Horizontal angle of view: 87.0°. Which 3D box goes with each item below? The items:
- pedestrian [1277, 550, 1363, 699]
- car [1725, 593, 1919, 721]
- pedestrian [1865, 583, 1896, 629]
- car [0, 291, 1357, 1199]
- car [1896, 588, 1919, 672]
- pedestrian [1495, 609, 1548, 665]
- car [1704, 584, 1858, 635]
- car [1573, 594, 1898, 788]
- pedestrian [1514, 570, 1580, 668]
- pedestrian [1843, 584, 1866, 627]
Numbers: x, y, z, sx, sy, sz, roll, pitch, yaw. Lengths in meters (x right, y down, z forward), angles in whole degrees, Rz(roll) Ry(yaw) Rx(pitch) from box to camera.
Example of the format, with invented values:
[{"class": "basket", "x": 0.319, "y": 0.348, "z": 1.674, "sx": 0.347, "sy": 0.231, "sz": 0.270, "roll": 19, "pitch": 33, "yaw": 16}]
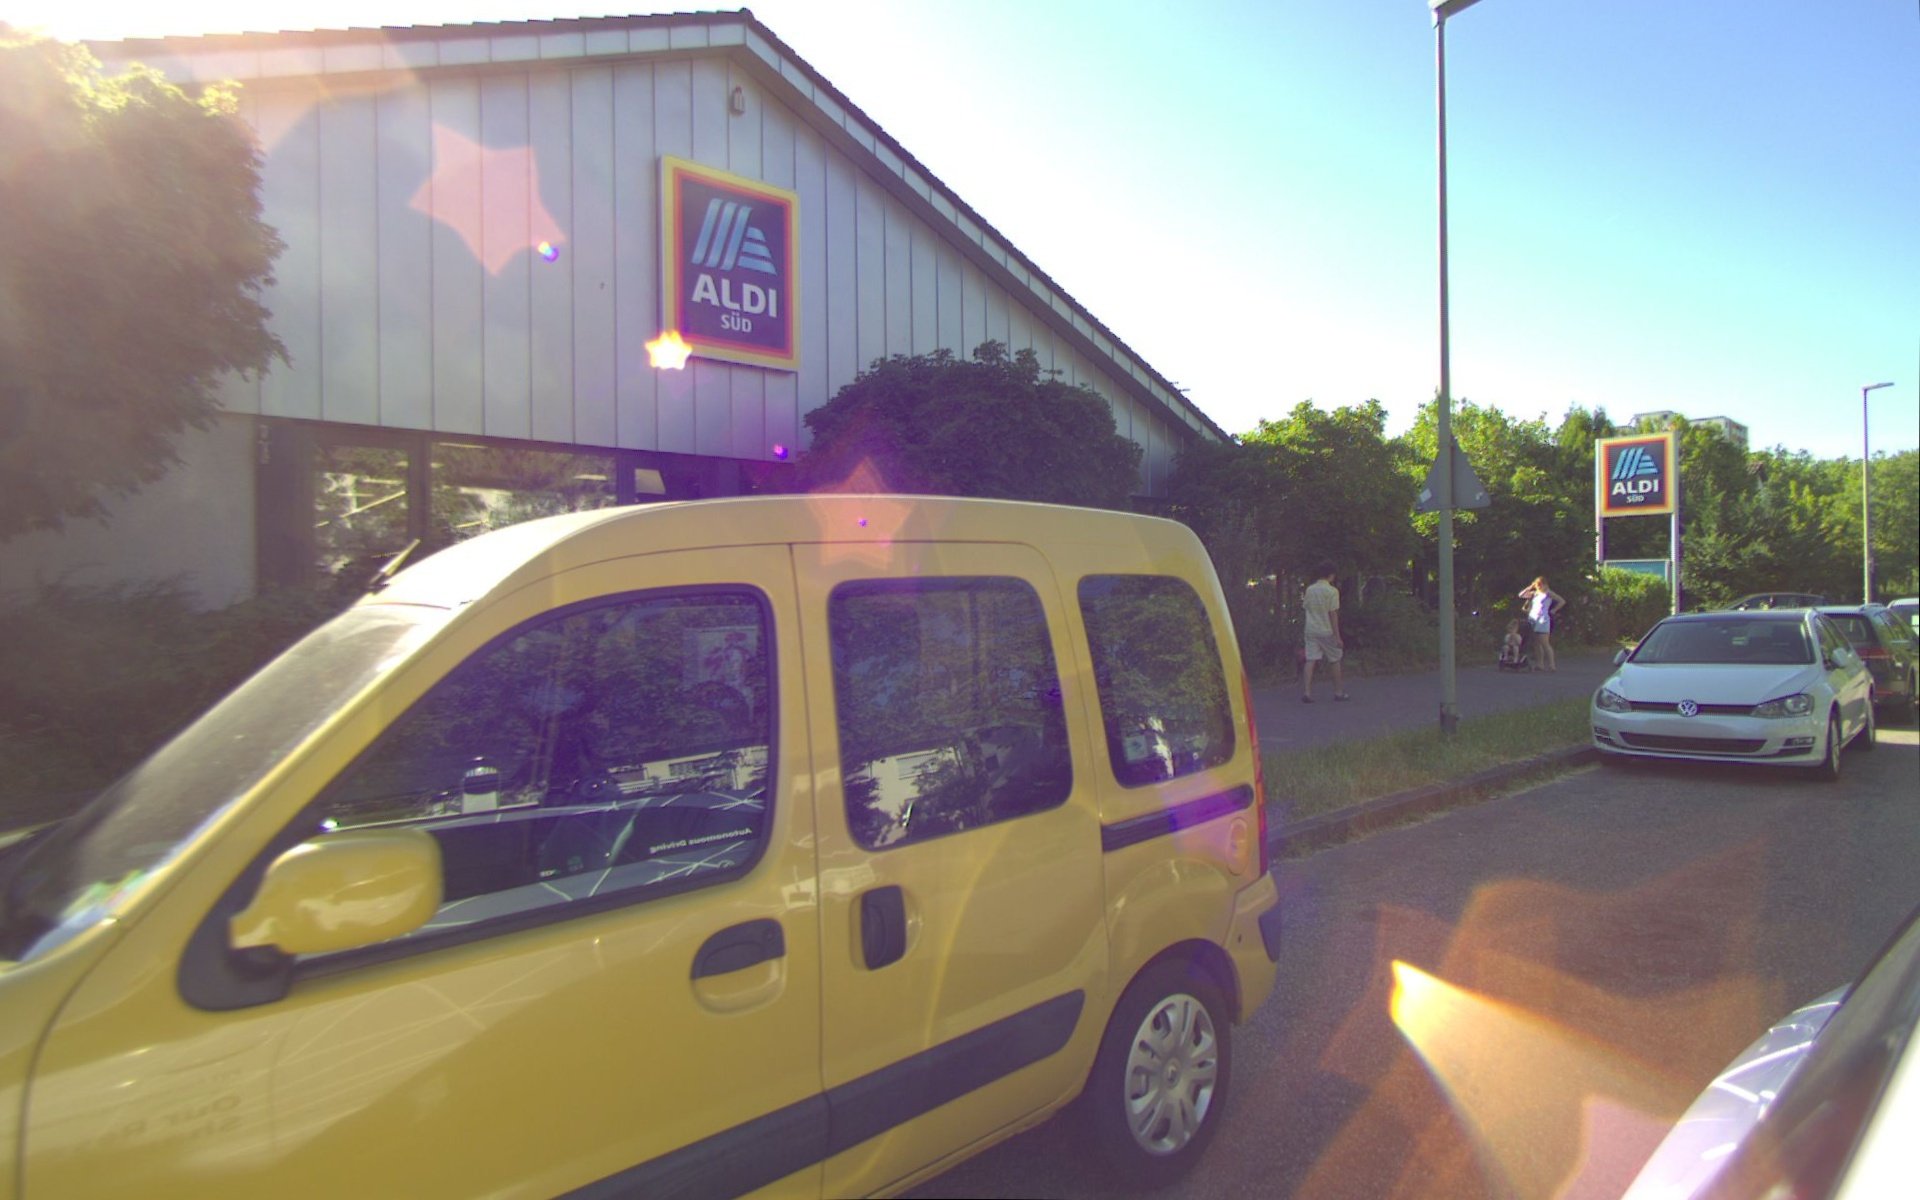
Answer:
[{"class": "pedestrian", "x": 4.746, "y": 0.306, "z": 13.346, "sx": 0.793, "sy": 1.885, "sz": 0.861, "roll": -1, "pitch": 0, "yaw": 42}, {"class": "car", "x": 12.036, "y": 0.646, "z": 13.681, "sx": 4.286, "sy": 1.462, "sz": 1.810, "roll": 0, "pitch": 0, "yaw": -40}, {"class": "pedestrian", "x": 35.830, "y": 0.211, "z": 39.405, "sx": 0.968, "sy": 1.738, "sz": 0.804, "roll": -2, "pitch": 3, "yaw": -44}, {"class": "car", "x": -0.850, "y": 0.562, "z": 2.501, "sx": 3.929, "sy": 1.861, "sz": 1.728, "roll": -1, "pitch": 0, "yaw": -40}, {"class": "car", "x": 20.481, "y": 0.559, "z": 20.752, "sx": 3.962, "sy": 1.619, "sz": 1.681, "roll": -1, "pitch": 0, "yaw": -44}, {"class": "pedestrian", "x": 10.379, "y": 0.679, "z": 18.706, "sx": 0.794, "sy": 0.993, "sz": 0.534, "roll": 0, "pitch": 0, "yaw": -33}, {"class": "car", "x": 27.863, "y": 0.285, "z": 34.515, "sx": 3.717, "sy": 1.666, "sz": 1.840, "roll": 0, "pitch": 0, "yaw": 26}, {"class": "car", "x": 7.654, "y": 0.702, "z": 9.858, "sx": 3.932, "sy": 1.470, "sz": 1.829, "roll": -1, "pitch": 0, "yaw": -42}, {"class": "pedestrian", "x": 11.097, "y": 0.347, "z": 19.141, "sx": 0.793, "sy": 1.804, "sz": 0.801, "roll": 0, "pitch": 0, "yaw": -32}, {"class": "pedestrian", "x": 35.313, "y": 0.208, "z": 39.948, "sx": 0.779, "sy": 1.629, "sz": 0.573, "roll": -2, "pitch": 3, "yaw": -44}]
